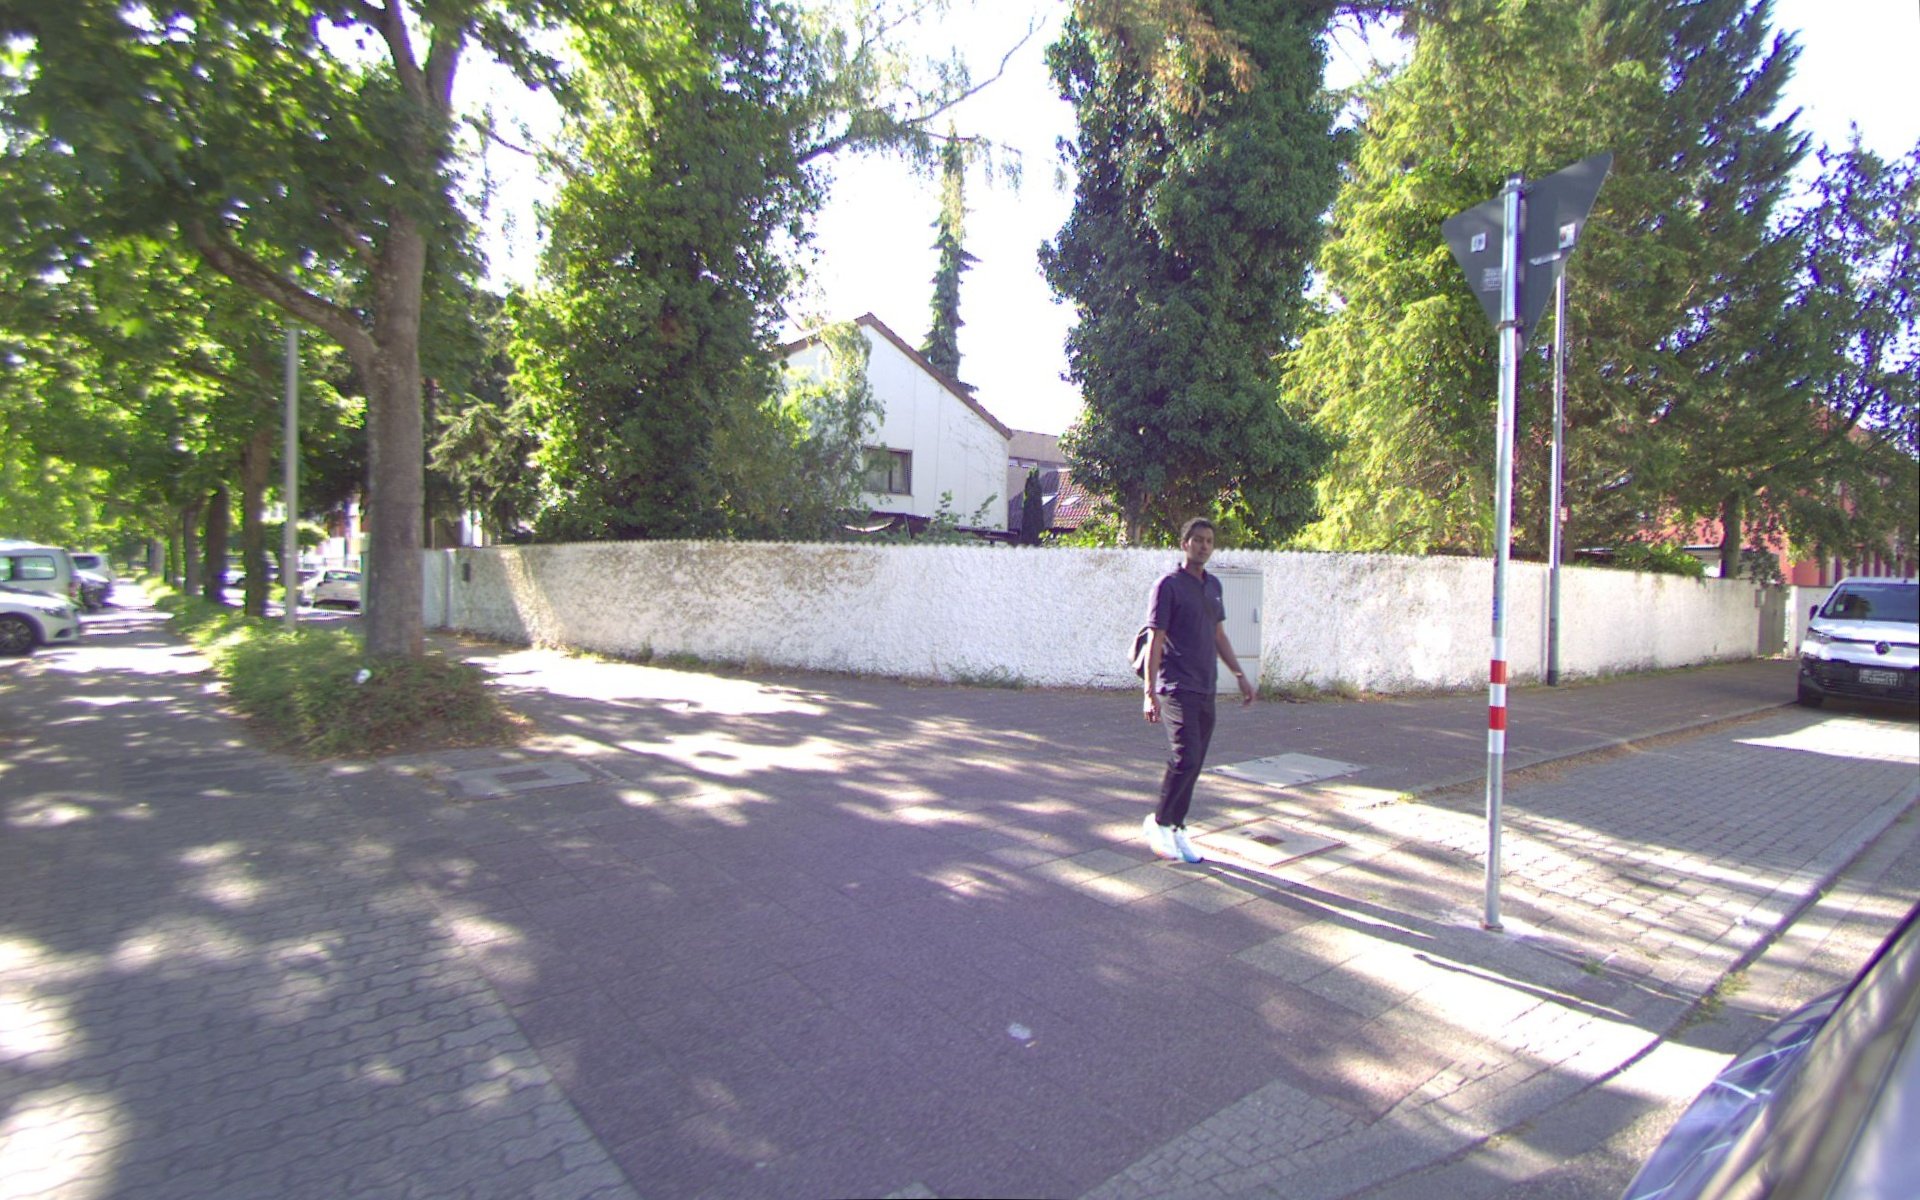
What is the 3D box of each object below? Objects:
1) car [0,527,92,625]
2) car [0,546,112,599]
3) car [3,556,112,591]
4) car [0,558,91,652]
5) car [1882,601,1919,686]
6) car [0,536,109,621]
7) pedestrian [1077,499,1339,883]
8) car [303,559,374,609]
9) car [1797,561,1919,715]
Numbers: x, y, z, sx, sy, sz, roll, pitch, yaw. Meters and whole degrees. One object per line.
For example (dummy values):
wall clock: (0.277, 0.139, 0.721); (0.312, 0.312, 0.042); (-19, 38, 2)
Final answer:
car: (-21.060, -0.511, 21.049); (4.555, 2.016, 1.997); (0, 0, -41)
car: (-33.733, -0.964, 36.724); (4.486, 1.853, 1.997); (0, 0, -41)
car: (-50.733, -1.451, 56.997); (4.486, 1.853, 1.997); (0, 0, -41)
car: (-16.151, 0.106, 15.182); (4.605, 1.423, 1.828); (-3, 3, -39)
car: (18.459, 0.777, 18.441); (4.206, 1.441, 1.830); (0, 2, -39)
car: (-27.802, -0.622, 29.132); (5.046, 2.408, 1.997); (0, 0, -41)
pedestrian: (1.201, 0.386, 5.018); (0.821, 1.704, 0.809); (2, 4, -27)
car: (-22.127, -0.593, 35.983); (1.801, 1.634, 4.144); (2, 1, -36)
car: (13.982, 0.478, 14.652); (5.055, 1.938, 1.903); (0, 2, -39)
